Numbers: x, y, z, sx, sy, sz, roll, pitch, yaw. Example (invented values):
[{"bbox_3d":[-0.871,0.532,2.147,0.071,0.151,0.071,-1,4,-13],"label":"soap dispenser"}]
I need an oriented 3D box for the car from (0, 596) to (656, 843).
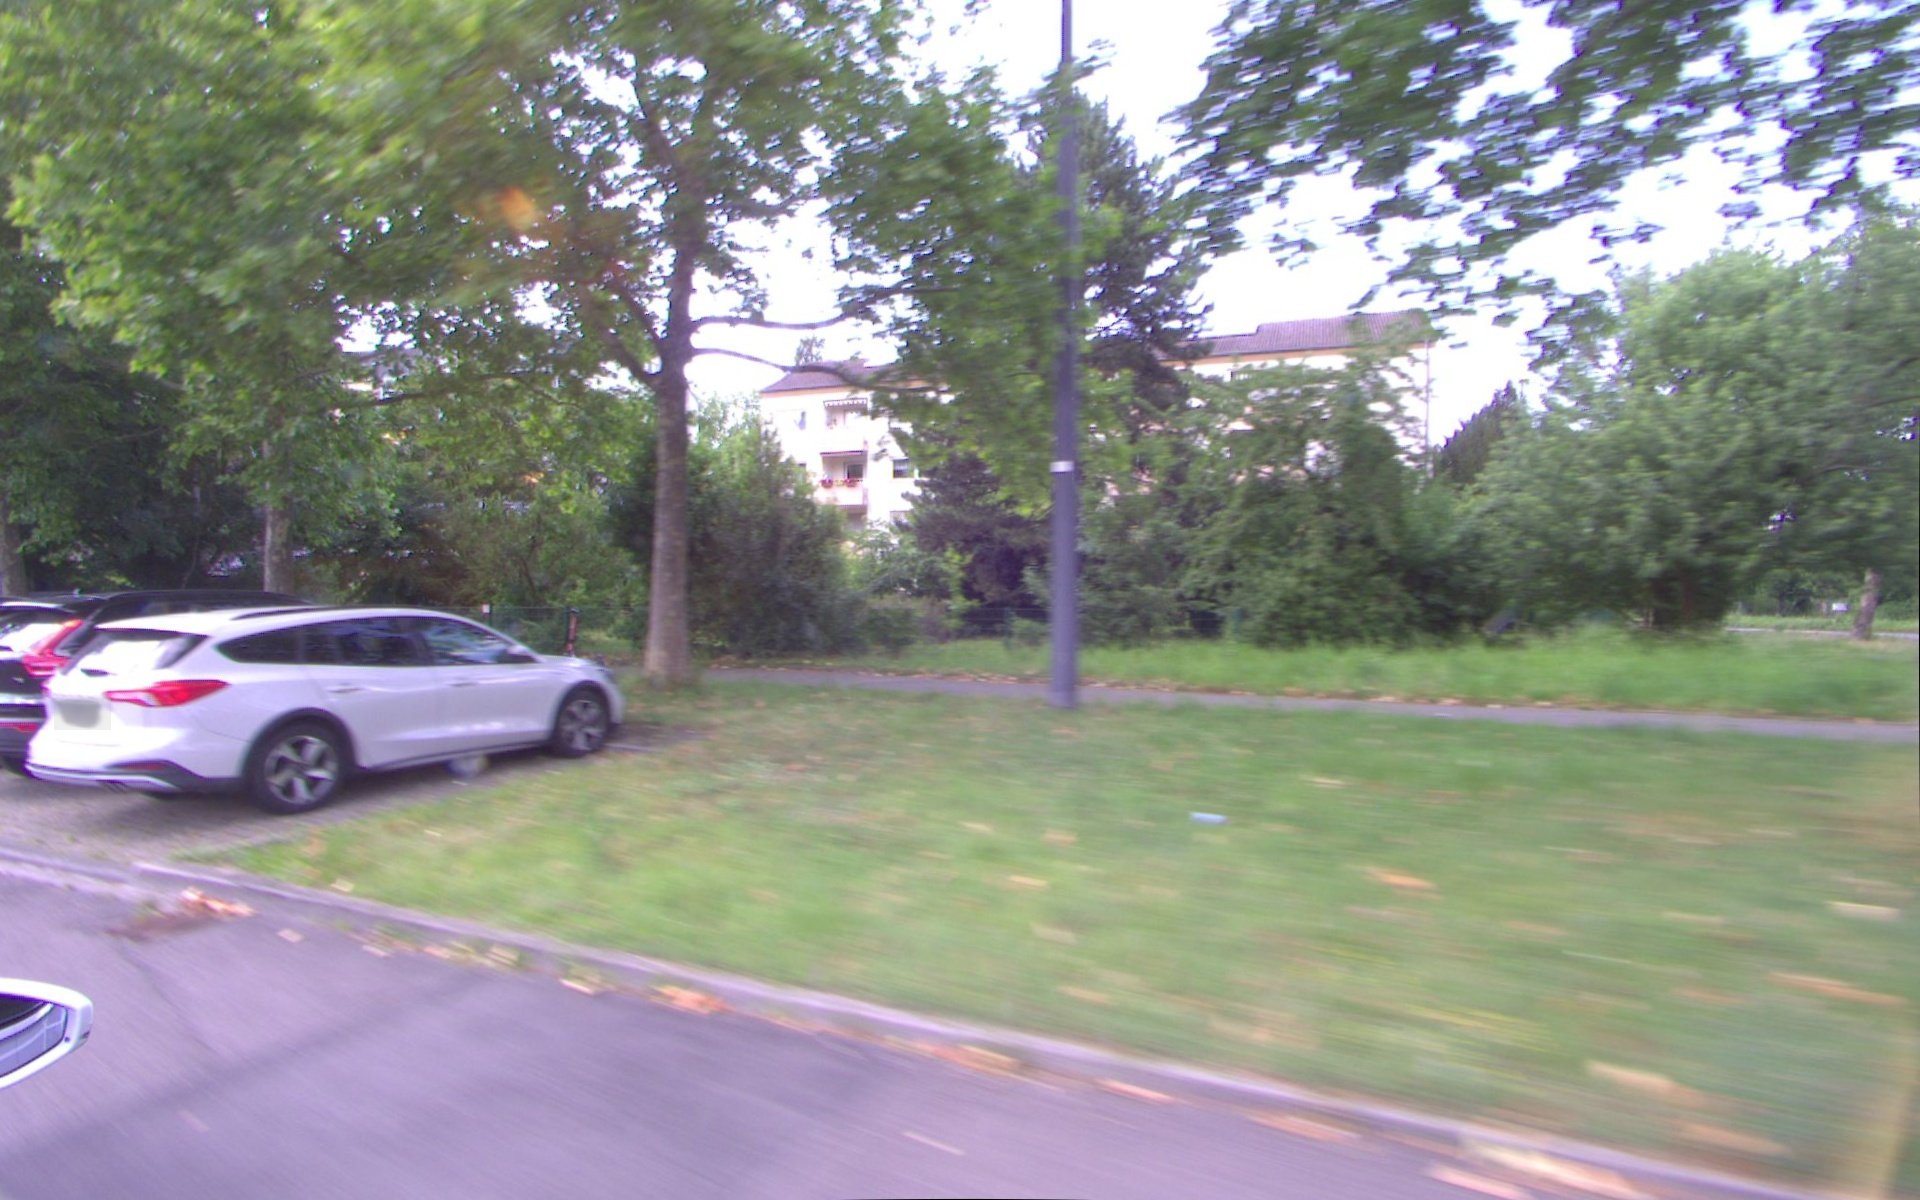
[{"bbox_3d":[-4.974,0.739,8.731,1.817,1.493,4.657,0,1,25],"label":"car"}]

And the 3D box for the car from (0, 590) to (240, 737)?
[{"bbox_3d":[-11.527,0.720,11.995,1.730,1.661,4.373,0,1,30],"label":"car"}]

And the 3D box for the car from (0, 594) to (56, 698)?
[{"bbox_3d":[-16.311,0.748,14.846,1.725,1.627,3.970,0,1,18],"label":"car"}]

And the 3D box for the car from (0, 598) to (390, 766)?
[{"bbox_3d":[-8.981,0.772,11.070,1.730,1.521,4.373,1,1,30],"label":"car"}]

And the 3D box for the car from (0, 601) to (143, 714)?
[{"bbox_3d":[-13.917,0.793,13.627,1.729,1.514,3.961,0,1,28],"label":"car"}]

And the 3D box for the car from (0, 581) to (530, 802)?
[{"bbox_3d":[-6.817,0.649,9.944,1.817,1.648,4.657,0,1,25],"label":"car"}]
